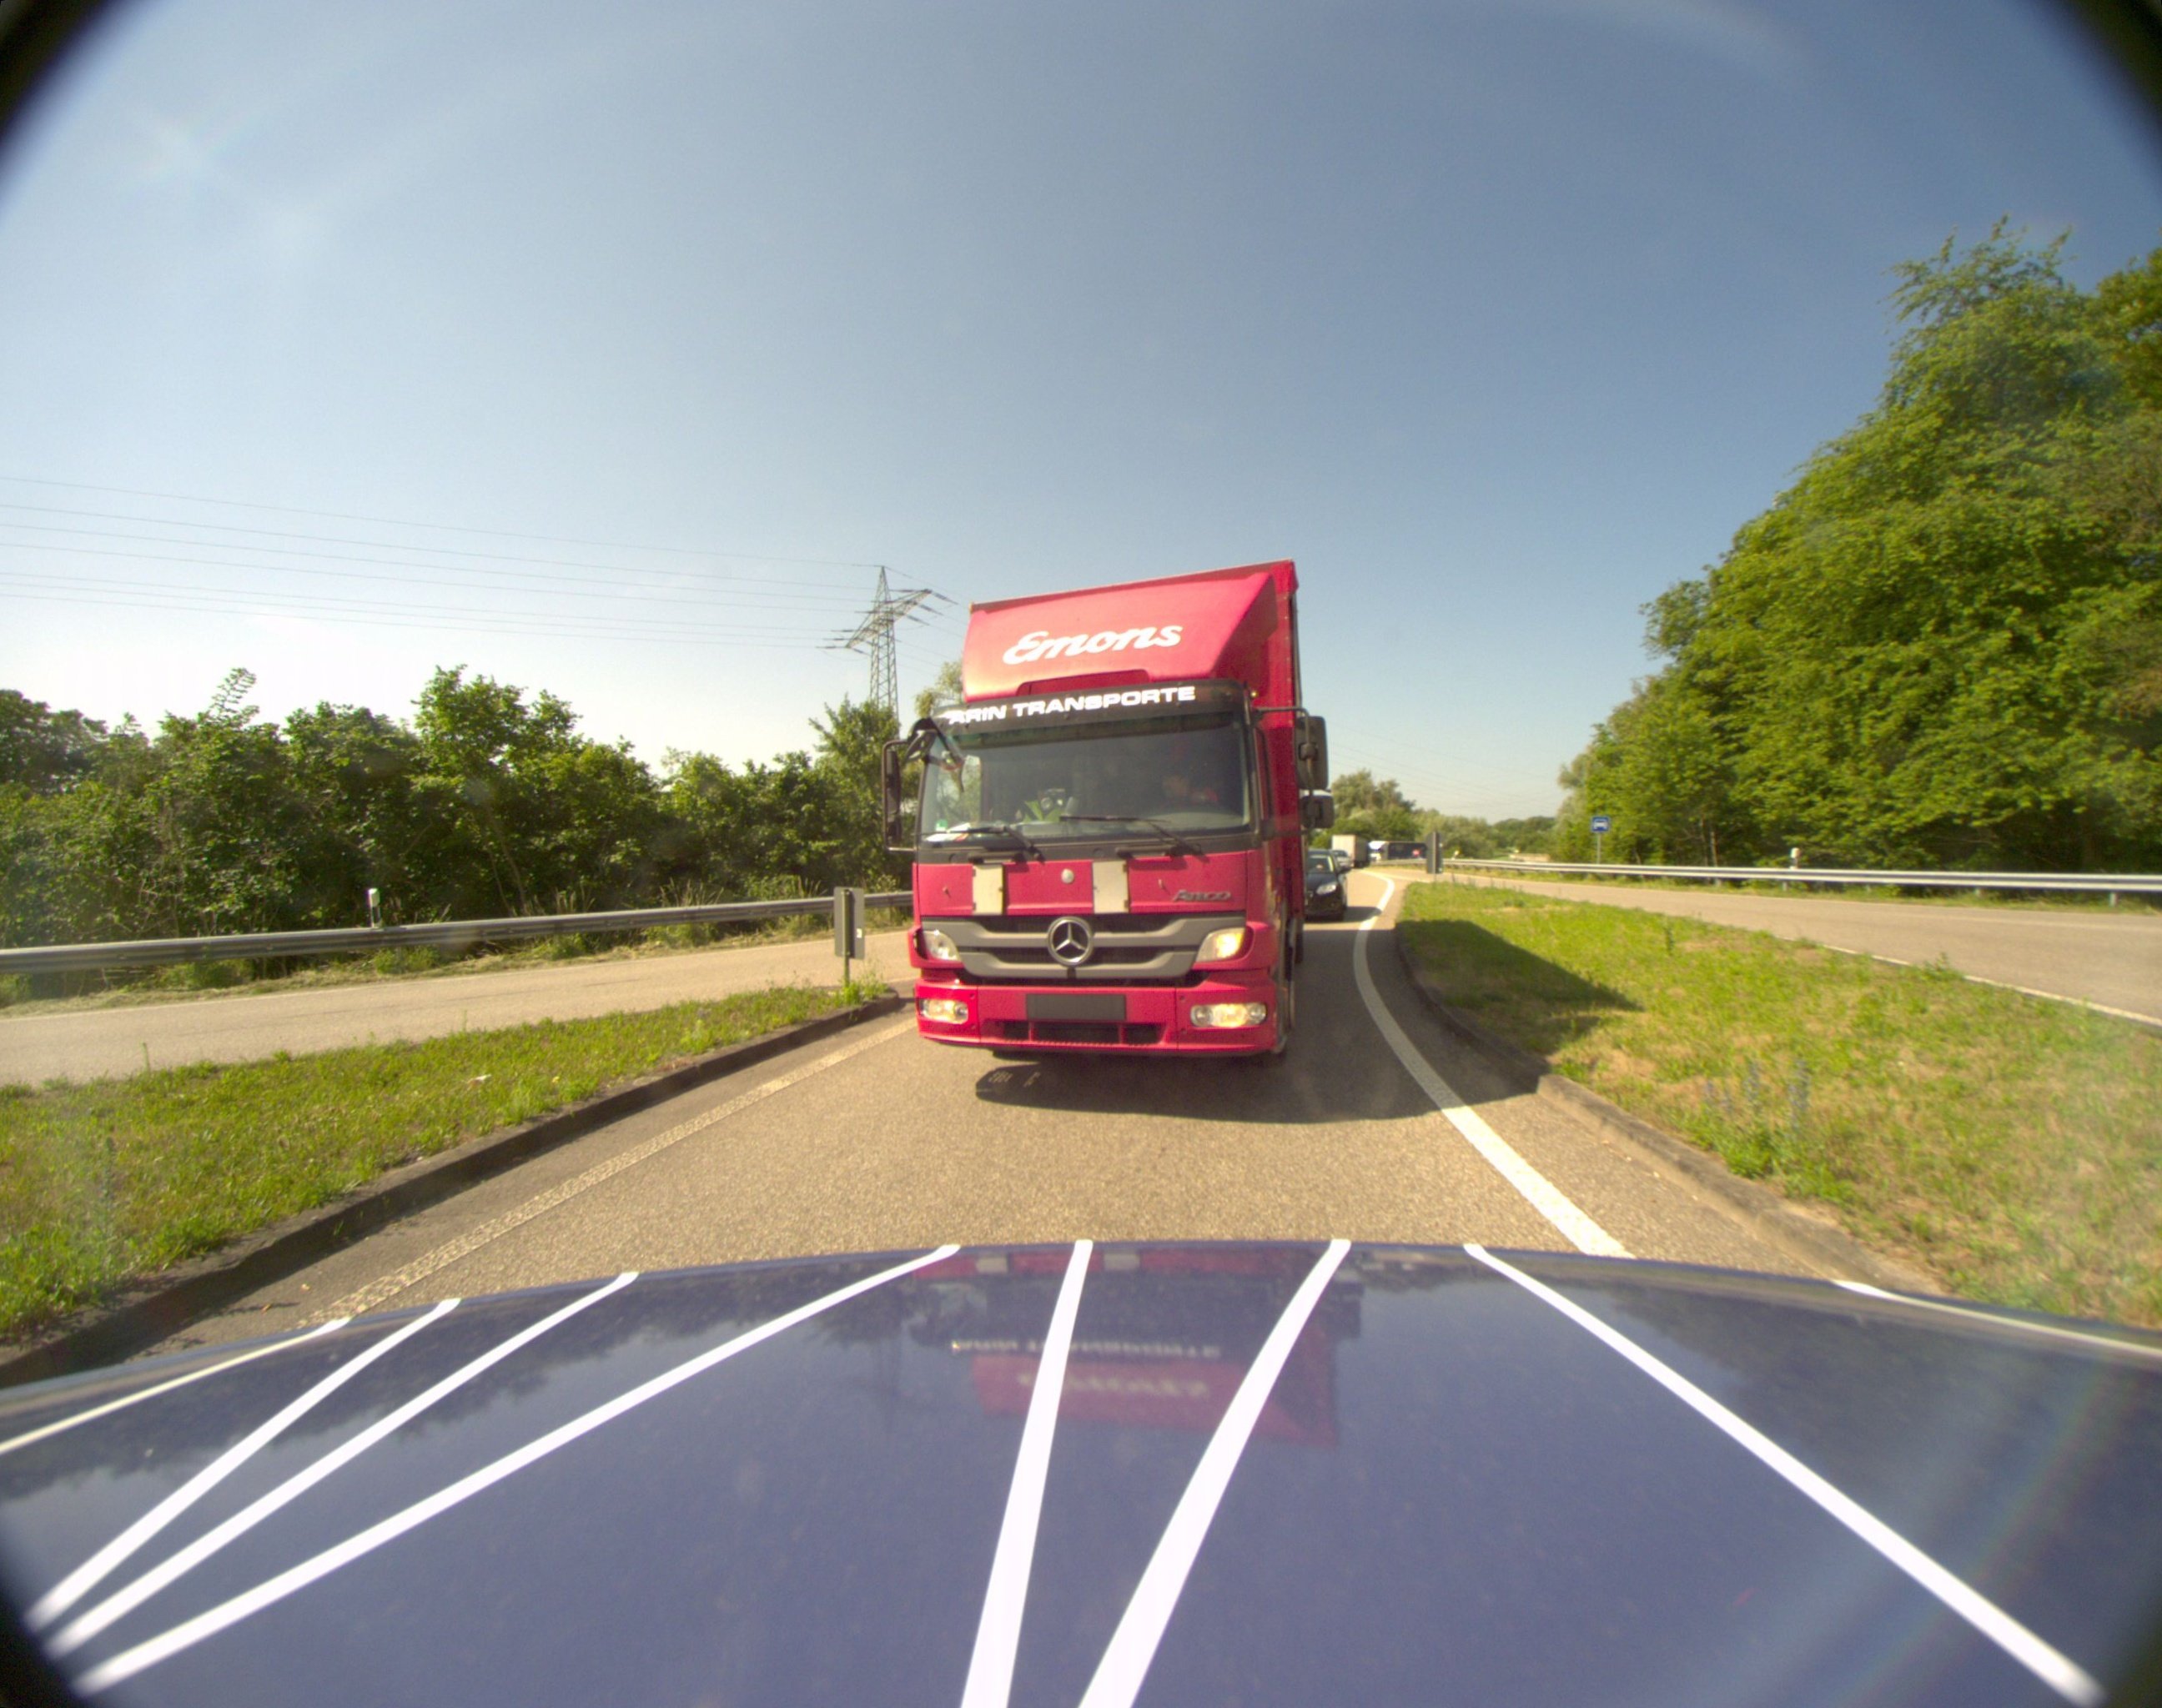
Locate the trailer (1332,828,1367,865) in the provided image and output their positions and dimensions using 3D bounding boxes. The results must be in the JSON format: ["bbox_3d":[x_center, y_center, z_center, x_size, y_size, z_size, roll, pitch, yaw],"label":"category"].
[{"bbox_3d":[33.749,-0.949,95.105,2.952,4.243,14.004,1,1,24],"label":"trailer"}]

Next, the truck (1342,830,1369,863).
[{"bbox_3d":[36.561,-1.007,101.081,2.933,4.222,5.742,1,1,24],"label":"truck"}]

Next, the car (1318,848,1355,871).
[{"bbox_3d":[16.551,0.330,49.434,1.785,1.377,4.382,-2,0,12],"label":"car"}]

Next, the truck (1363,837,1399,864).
[{"bbox_3d":[48.409,-0.611,122.639,5.744,4.214,2.932,0,1,-39],"label":"truck"}]

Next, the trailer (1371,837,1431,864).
[{"bbox_3d":[53.627,-0.606,126.921,14.009,4.216,2.922,0,1,-39],"label":"trailer"}]

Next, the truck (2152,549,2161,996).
[{"bbox_3d":[10.369,-0.742,3.837,2.873,4.149,5.979,-2,0,21],"label":"truck"}]

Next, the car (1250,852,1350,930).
[{"bbox_3d":[4.847,0.713,16.448,1.785,1.406,4.005,-1,0,20],"label":"car"}]

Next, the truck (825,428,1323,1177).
[{"bbox_3d":[1.184,-0.267,8.516,2.686,3.640,9.273,-1,0,17],"label":"truck"}]
